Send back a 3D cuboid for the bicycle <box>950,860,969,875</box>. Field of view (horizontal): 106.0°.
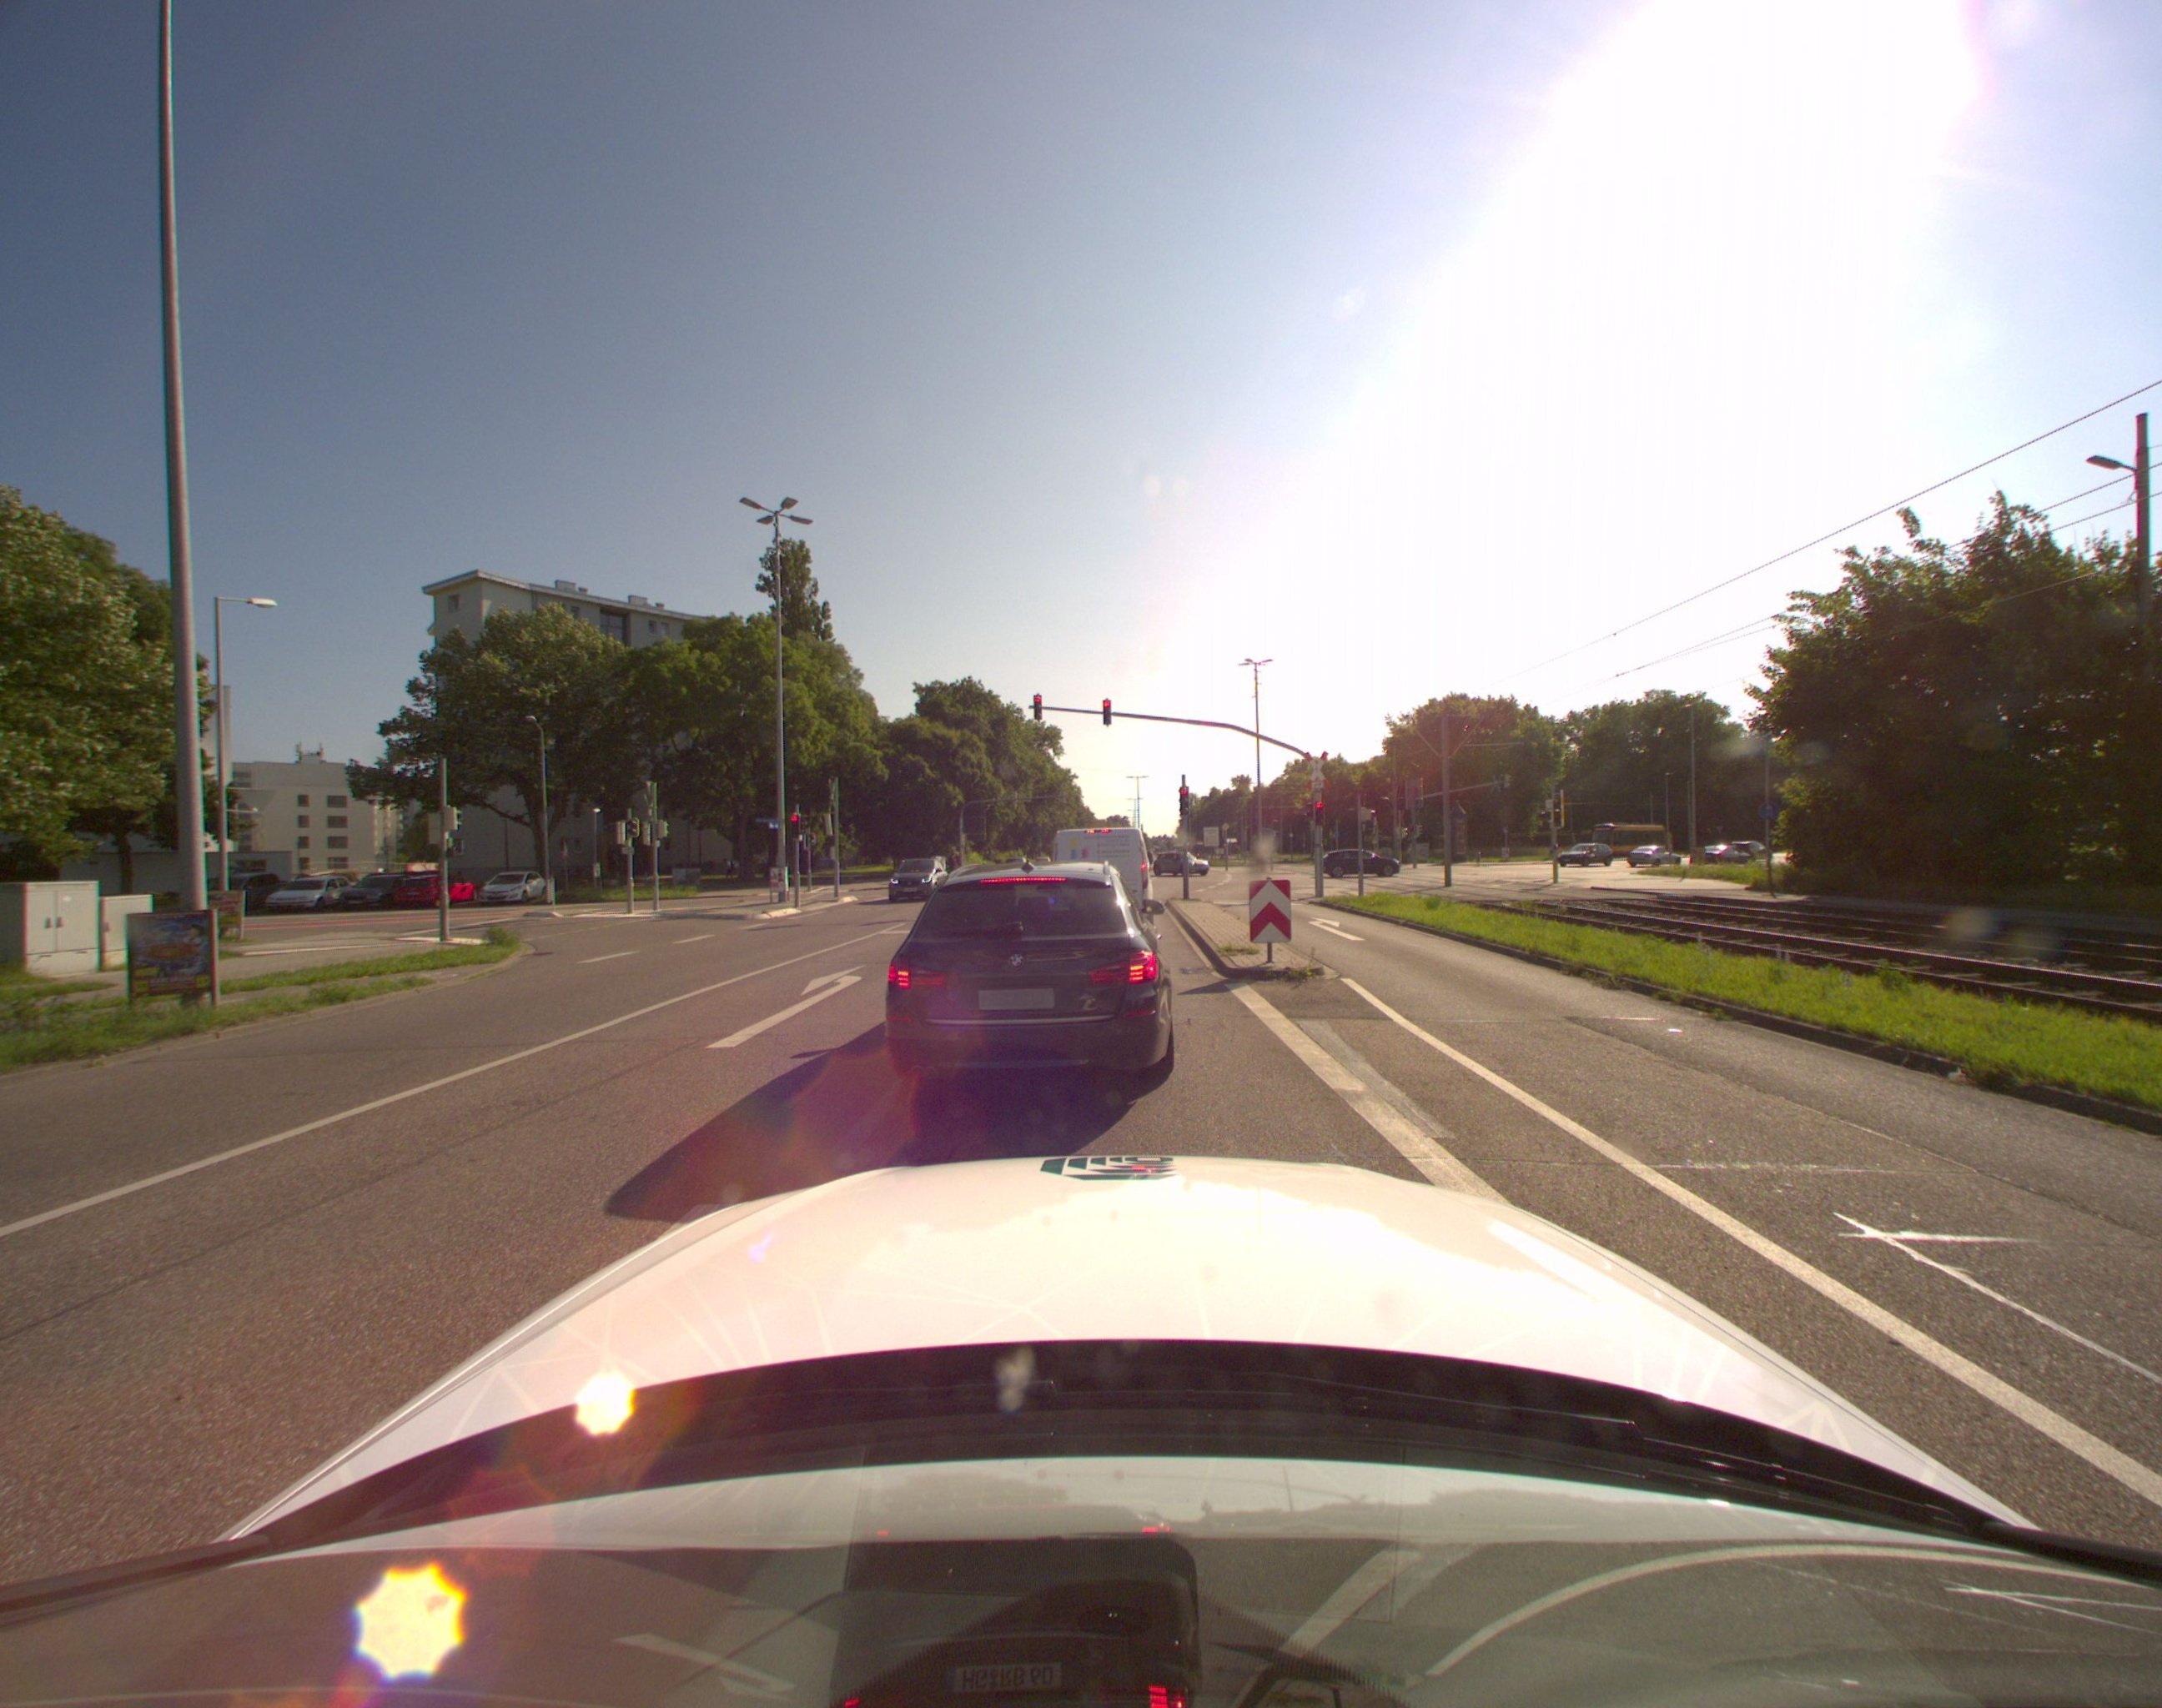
[{"bbox_3d":[-8.936,0.972,59.981,0.615,1.040,2.080,-1,0,14],"label":"bicycle"}]

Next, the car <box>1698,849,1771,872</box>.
[{"bbox_3d":[43.117,0.429,53.729,4.415,1.354,1.984,-1,0,-25],"label":"car"}]

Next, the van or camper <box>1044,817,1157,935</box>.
[{"bbox_3d":[0.488,0.392,16.965,1.985,2.096,4.602,-1,0,3],"label":"van or camper"}]

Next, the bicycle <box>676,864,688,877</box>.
[{"bbox_3d":[-32.808,1.376,67.033,0.615,1.066,1.896,0,-2,-34],"label":"bicycle"}]

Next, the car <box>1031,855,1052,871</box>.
[{"bbox_3d":[-3.924,0.842,81.458,1.695,1.465,4.373,-3,0,3],"label":"car"}]

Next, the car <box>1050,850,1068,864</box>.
[{"bbox_3d":[-2.621,0.354,95.935,1.738,1.562,4.003,-3,0,3],"label":"car"}]

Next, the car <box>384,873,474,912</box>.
[{"bbox_3d":[-30.906,1.783,38.744,1.782,1.415,3.982,-1,4,-14],"label":"car"}]

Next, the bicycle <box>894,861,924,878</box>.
[{"bbox_3d":[-11.625,1.046,55.098,1.902,1.119,0.632,-1,0,1],"label":"bicycle"}]

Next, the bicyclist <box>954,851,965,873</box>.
[{"bbox_3d":[-8.936,0.578,60.032,0.603,1.560,0.605,-1,0,14],"label":"bicyclist"}]

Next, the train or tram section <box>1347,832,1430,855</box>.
[{"bbox_3d":[50.409,-1.679,133.852,12.279,3.579,3.073,-1,0,33],"label":"train or tram section"}]

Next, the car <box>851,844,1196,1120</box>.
[{"bbox_3d":[-0.254,0.713,6.581,1.896,1.506,4.067,-1,0,2],"label":"car"}]

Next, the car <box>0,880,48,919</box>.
[{"bbox_3d":[-46.071,2.016,33.686,1.785,1.476,4.686,-1,3,-19],"label":"car"}]

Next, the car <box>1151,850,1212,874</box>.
[{"bbox_3d":[6.084,0.504,49.405,1.615,1.383,3.488,-1,0,-39],"label":"car"}]

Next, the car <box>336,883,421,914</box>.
[{"bbox_3d":[-32.765,2.050,38.105,1.463,1.193,3.767,-1,0,-15],"label":"car"}]

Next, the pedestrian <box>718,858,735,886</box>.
[{"bbox_3d":[-22.237,1.102,51.064,0.619,1.712,0.707,-1,2,14],"label":"pedestrian"}]

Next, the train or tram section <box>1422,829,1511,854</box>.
[{"bbox_3d":[60.019,-1.851,126.957,12.072,3.579,3.073,-1,0,38],"label":"train or tram section"}]

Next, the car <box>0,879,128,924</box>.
[{"bbox_3d":[-44.357,2.009,35.239,1.785,1.477,4.785,-1,3,-19],"label":"car"}]

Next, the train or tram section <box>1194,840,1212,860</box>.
[{"bbox_3d":[23.278,-0.623,156.055,2.782,3.618,12.976,0,0,6],"label":"train or tram section"}]

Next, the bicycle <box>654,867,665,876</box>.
[{"bbox_3d":[-34.298,1.429,66.254,0.587,0.708,2.215,-1,0,-33],"label":"bicycle"}]

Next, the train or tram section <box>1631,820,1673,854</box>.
[{"bbox_3d":[66.117,-1.924,94.582,3.015,3.579,12.308,-1,0,31],"label":"train or tram section"}]

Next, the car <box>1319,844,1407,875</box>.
[{"bbox_3d":[16.214,0.331,46.938,4.580,1.722,1.653,0,-1,9],"label":"car"}]

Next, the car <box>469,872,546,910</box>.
[{"bbox_3d":[-27.867,1.735,39.713,1.783,1.439,3.980,-1,3,-15],"label":"car"}]

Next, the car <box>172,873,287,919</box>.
[{"bbox_3d":[-38.051,1.825,36.538,1.783,1.811,3.977,-1,0,-16],"label":"car"}]

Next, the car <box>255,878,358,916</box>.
[{"bbox_3d":[-35.406,1.930,37.372,1.783,1.521,3.977,-1,0,-16],"label":"car"}]

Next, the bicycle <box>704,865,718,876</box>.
[{"bbox_3d":[-31.017,1.360,68.247,0.673,0.919,2.382,-1,0,-33],"label":"bicycle"}]

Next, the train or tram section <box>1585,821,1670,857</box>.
[{"bbox_3d":[57.724,-1.569,85.859,11.898,3.579,3.022,-1,0,-34],"label":"train or tram section"}]

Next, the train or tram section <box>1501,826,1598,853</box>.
[{"bbox_3d":[67.353,-1.988,117.569,3.064,3.579,12.108,-1,0,-31],"label":"train or tram section"}]

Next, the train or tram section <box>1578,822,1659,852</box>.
[{"bbox_3d":[69.675,-2.075,106.062,3.031,3.579,12.241,-1,0,3],"label":"train or tram section"}]

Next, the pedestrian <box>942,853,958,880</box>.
[{"bbox_3d":[-8.855,0.846,54.996,0.811,1.752,0.933,-1,0,7],"label":"pedestrian"}]

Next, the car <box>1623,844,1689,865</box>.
[{"bbox_3d":[39.558,0.007,56.043,4.421,1.354,1.982,-1,0,-29],"label":"car"}]

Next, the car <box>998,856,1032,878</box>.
[{"bbox_3d":[-4.740,0.917,58.665,1.771,1.414,4.249,-1,0,4],"label":"car"}]

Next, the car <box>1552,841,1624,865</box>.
[{"bbox_3d":[35.966,-0.076,57.759,4.871,1.562,2.027,-1,0,-26],"label":"car"}]

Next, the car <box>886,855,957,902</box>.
[{"bbox_3d":[-5.867,0.867,30.341,1.626,1.560,3.680,-3,0,3],"label":"car"}]
